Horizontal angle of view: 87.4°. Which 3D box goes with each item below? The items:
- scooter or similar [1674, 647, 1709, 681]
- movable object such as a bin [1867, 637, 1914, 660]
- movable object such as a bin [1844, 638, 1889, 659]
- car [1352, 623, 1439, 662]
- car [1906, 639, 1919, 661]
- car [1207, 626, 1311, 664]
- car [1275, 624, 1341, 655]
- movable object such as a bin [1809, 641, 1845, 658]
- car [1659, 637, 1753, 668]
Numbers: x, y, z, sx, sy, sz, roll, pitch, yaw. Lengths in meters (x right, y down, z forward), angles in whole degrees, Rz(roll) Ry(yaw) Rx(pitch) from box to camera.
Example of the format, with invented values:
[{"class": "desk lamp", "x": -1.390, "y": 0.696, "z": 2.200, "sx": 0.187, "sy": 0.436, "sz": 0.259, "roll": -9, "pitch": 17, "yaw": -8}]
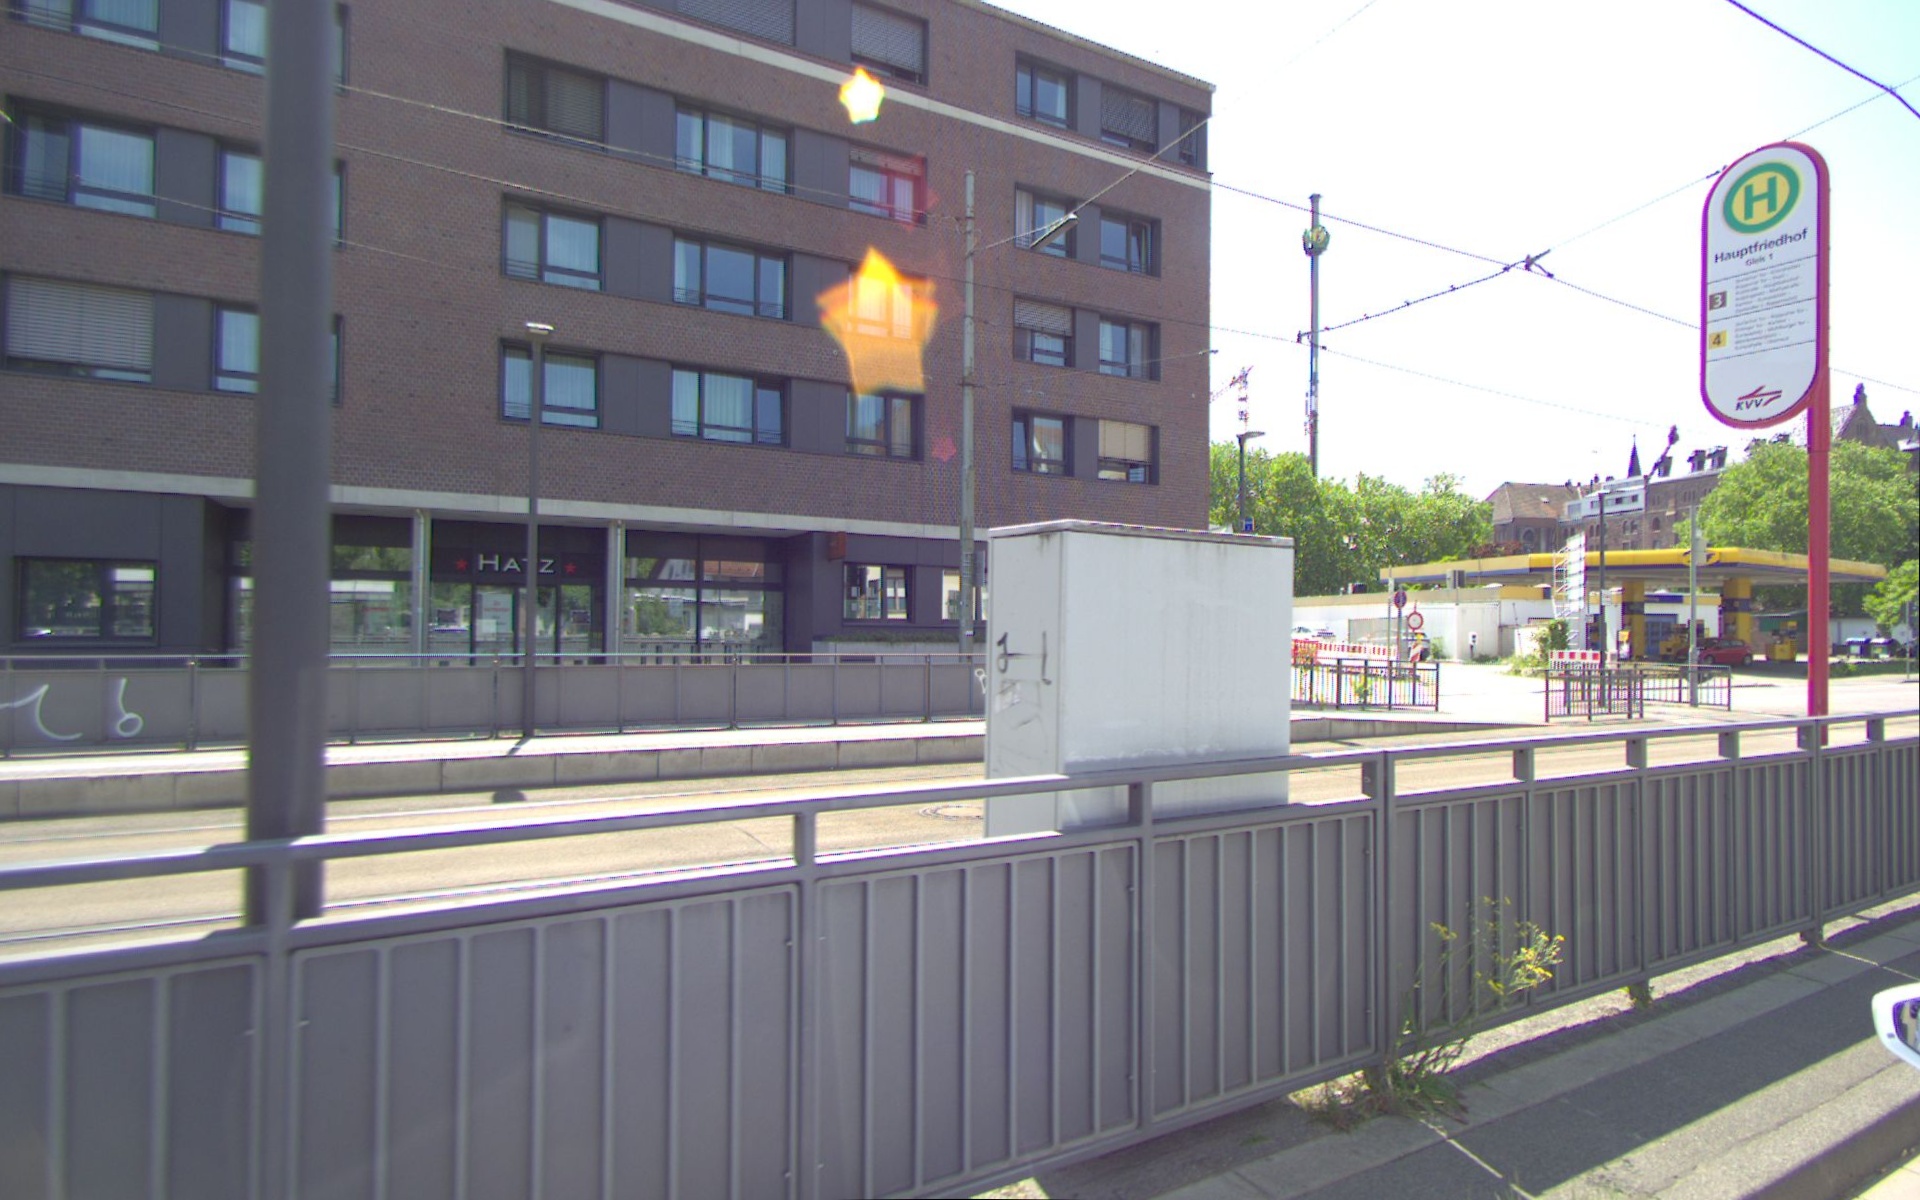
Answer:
[{"class": "scooter or similar", "x": 28.577, "y": 2.491, "z": 39.235, "sx": 1.220, "sy": 1.281, "sz": 0.345, "roll": 1, "pitch": 0, "yaw": -11}, {"class": "movable object such as a bin", "x": 65.959, "y": 3.466, "z": 71.238, "sx": 2.062, "sy": 1.529, "sz": 1.523, "roll": 1, "pitch": 0, "yaw": -11}, {"class": "movable object such as a bin", "x": 65.675, "y": 3.503, "z": 72.793, "sx": 2.062, "sy": 1.451, "sz": 1.523, "roll": 1, "pitch": 0, "yaw": -11}, {"class": "car", "x": 21.806, "y": 2.112, "z": 50.509, "sx": 1.859, "sy": 1.769, "sz": 4.268, "roll": 1, "pitch": 0, "yaw": -12}, {"class": "car", "x": 68.507, "y": 3.526, "z": 69.375, "sx": 4.361, "sy": 1.508, "sz": 1.936, "roll": 1, "pitch": 0, "yaw": 4}, {"class": "car", "x": 12.387, "y": 1.867, "z": 41.621, "sx": 3.944, "sy": 1.488, "sz": 1.727, "roll": 2, "pitch": -1, "yaw": -24}, {"class": "car", "x": 21.915, "y": 2.470, "z": 63.449, "sx": 1.965, "sy": 1.805, "sz": 4.268, "roll": 1, "pitch": 0, "yaw": -12}, {"class": "movable object such as a bin", "x": 64.909, "y": 3.683, "z": 75.184, "sx": 1.537, "sy": 1.153, "sz": 1.406, "roll": 1, "pitch": 0, "yaw": -11}, {"class": "car", "x": 39.883, "y": 2.801, "z": 53.723, "sx": 4.126, "sy": 1.525, "sz": 1.827, "roll": 0, "pitch": 1, "yaw": -13}]
